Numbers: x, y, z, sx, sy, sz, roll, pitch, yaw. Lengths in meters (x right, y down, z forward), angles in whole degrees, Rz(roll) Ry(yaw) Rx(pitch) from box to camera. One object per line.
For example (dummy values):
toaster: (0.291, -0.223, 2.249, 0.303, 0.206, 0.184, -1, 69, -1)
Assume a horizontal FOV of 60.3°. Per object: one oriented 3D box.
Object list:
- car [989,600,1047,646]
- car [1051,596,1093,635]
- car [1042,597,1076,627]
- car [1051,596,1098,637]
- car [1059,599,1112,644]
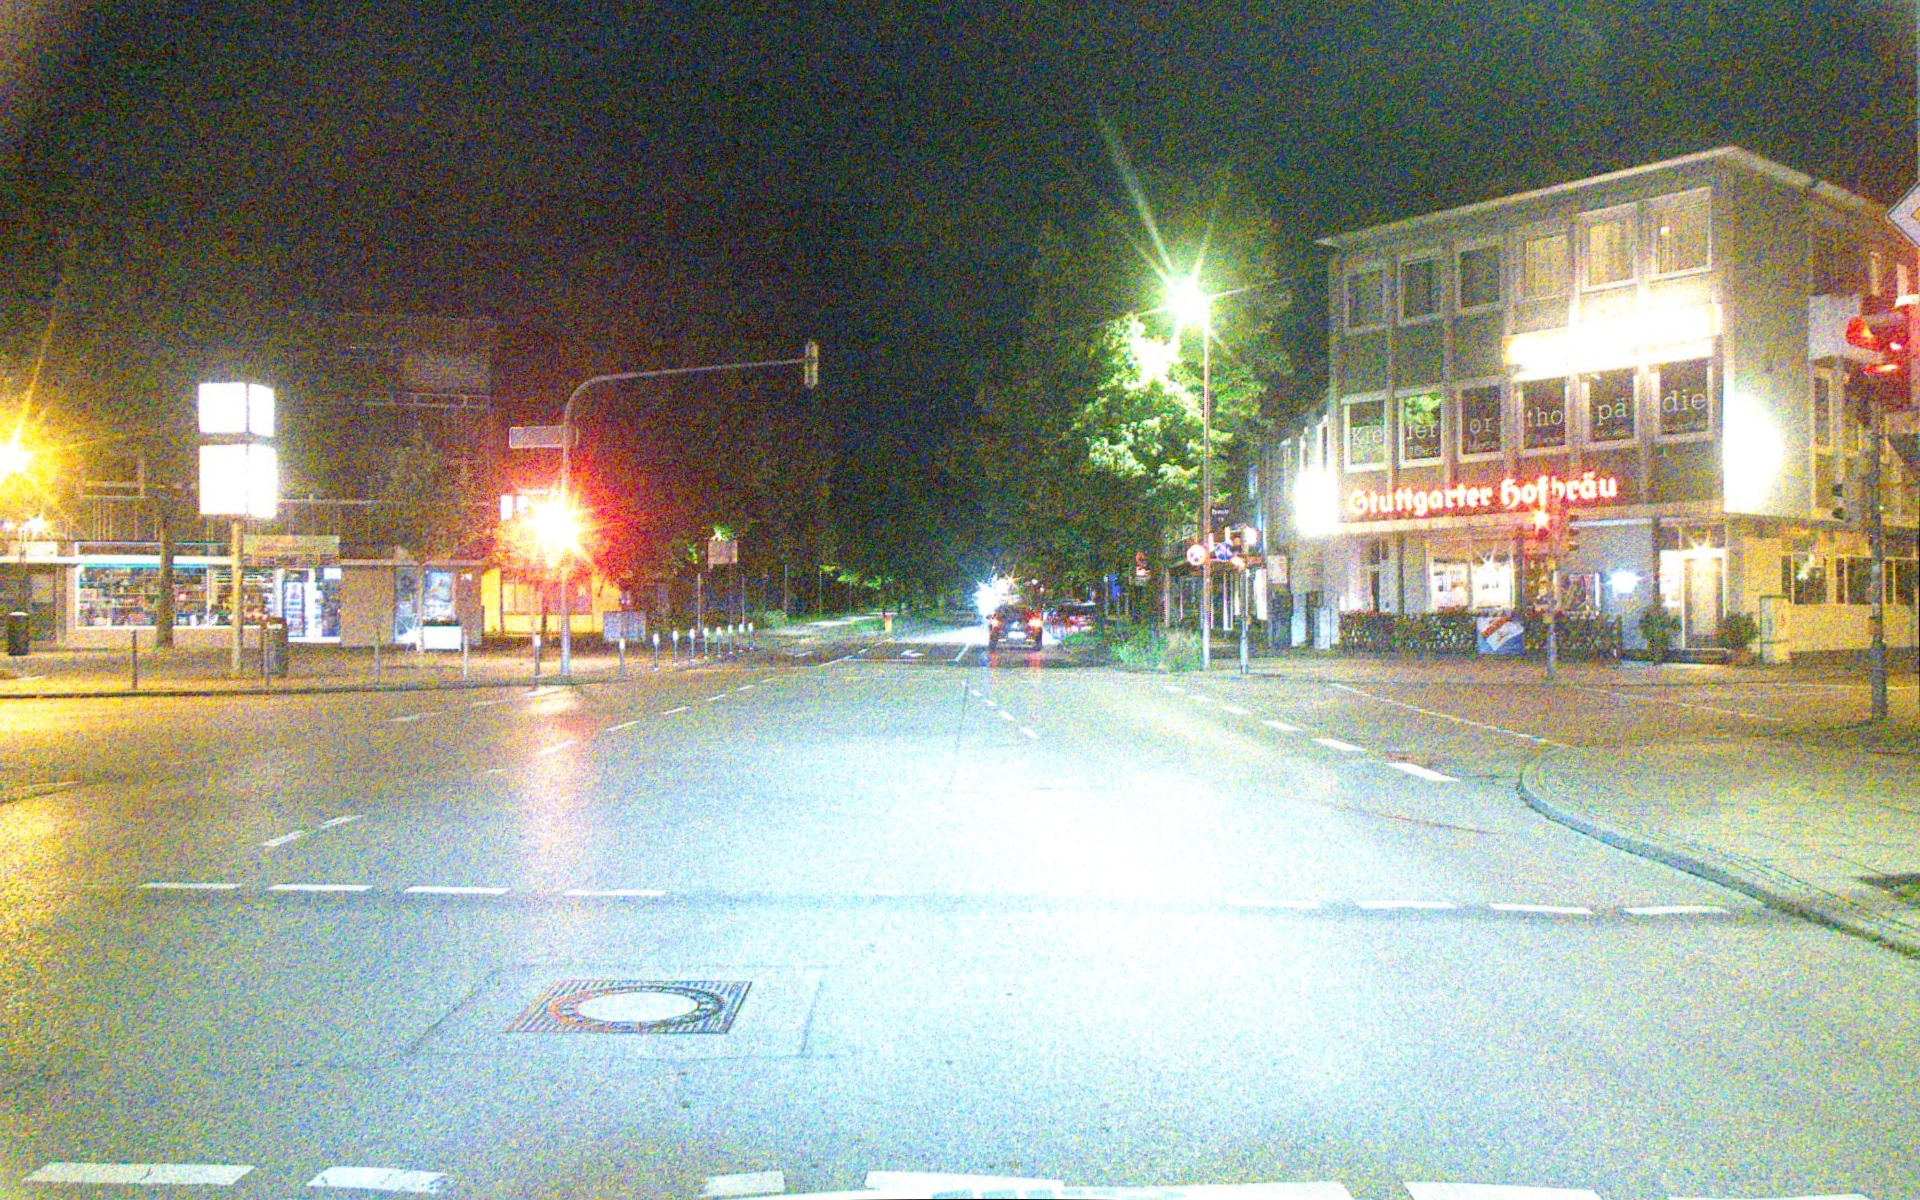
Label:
car: (1.906, 0.750, 55.820, 1.835, 1.479, 4.316, 1, 0, 1)
car: (5.155, 0.709, 76.534, 1.837, 1.759, 4.001, 0, 0, 2)
car: (5.663, 0.678, 94.582, 1.837, 1.713, 4.001, 0, 0, 2)
car: (4.730, 0.680, 68.857, 1.837, 1.643, 4.001, 0, 0, 2)
car: (4.789, 0.809, 63.541, 1.837, 1.643, 4.001, 0, 0, 2)
